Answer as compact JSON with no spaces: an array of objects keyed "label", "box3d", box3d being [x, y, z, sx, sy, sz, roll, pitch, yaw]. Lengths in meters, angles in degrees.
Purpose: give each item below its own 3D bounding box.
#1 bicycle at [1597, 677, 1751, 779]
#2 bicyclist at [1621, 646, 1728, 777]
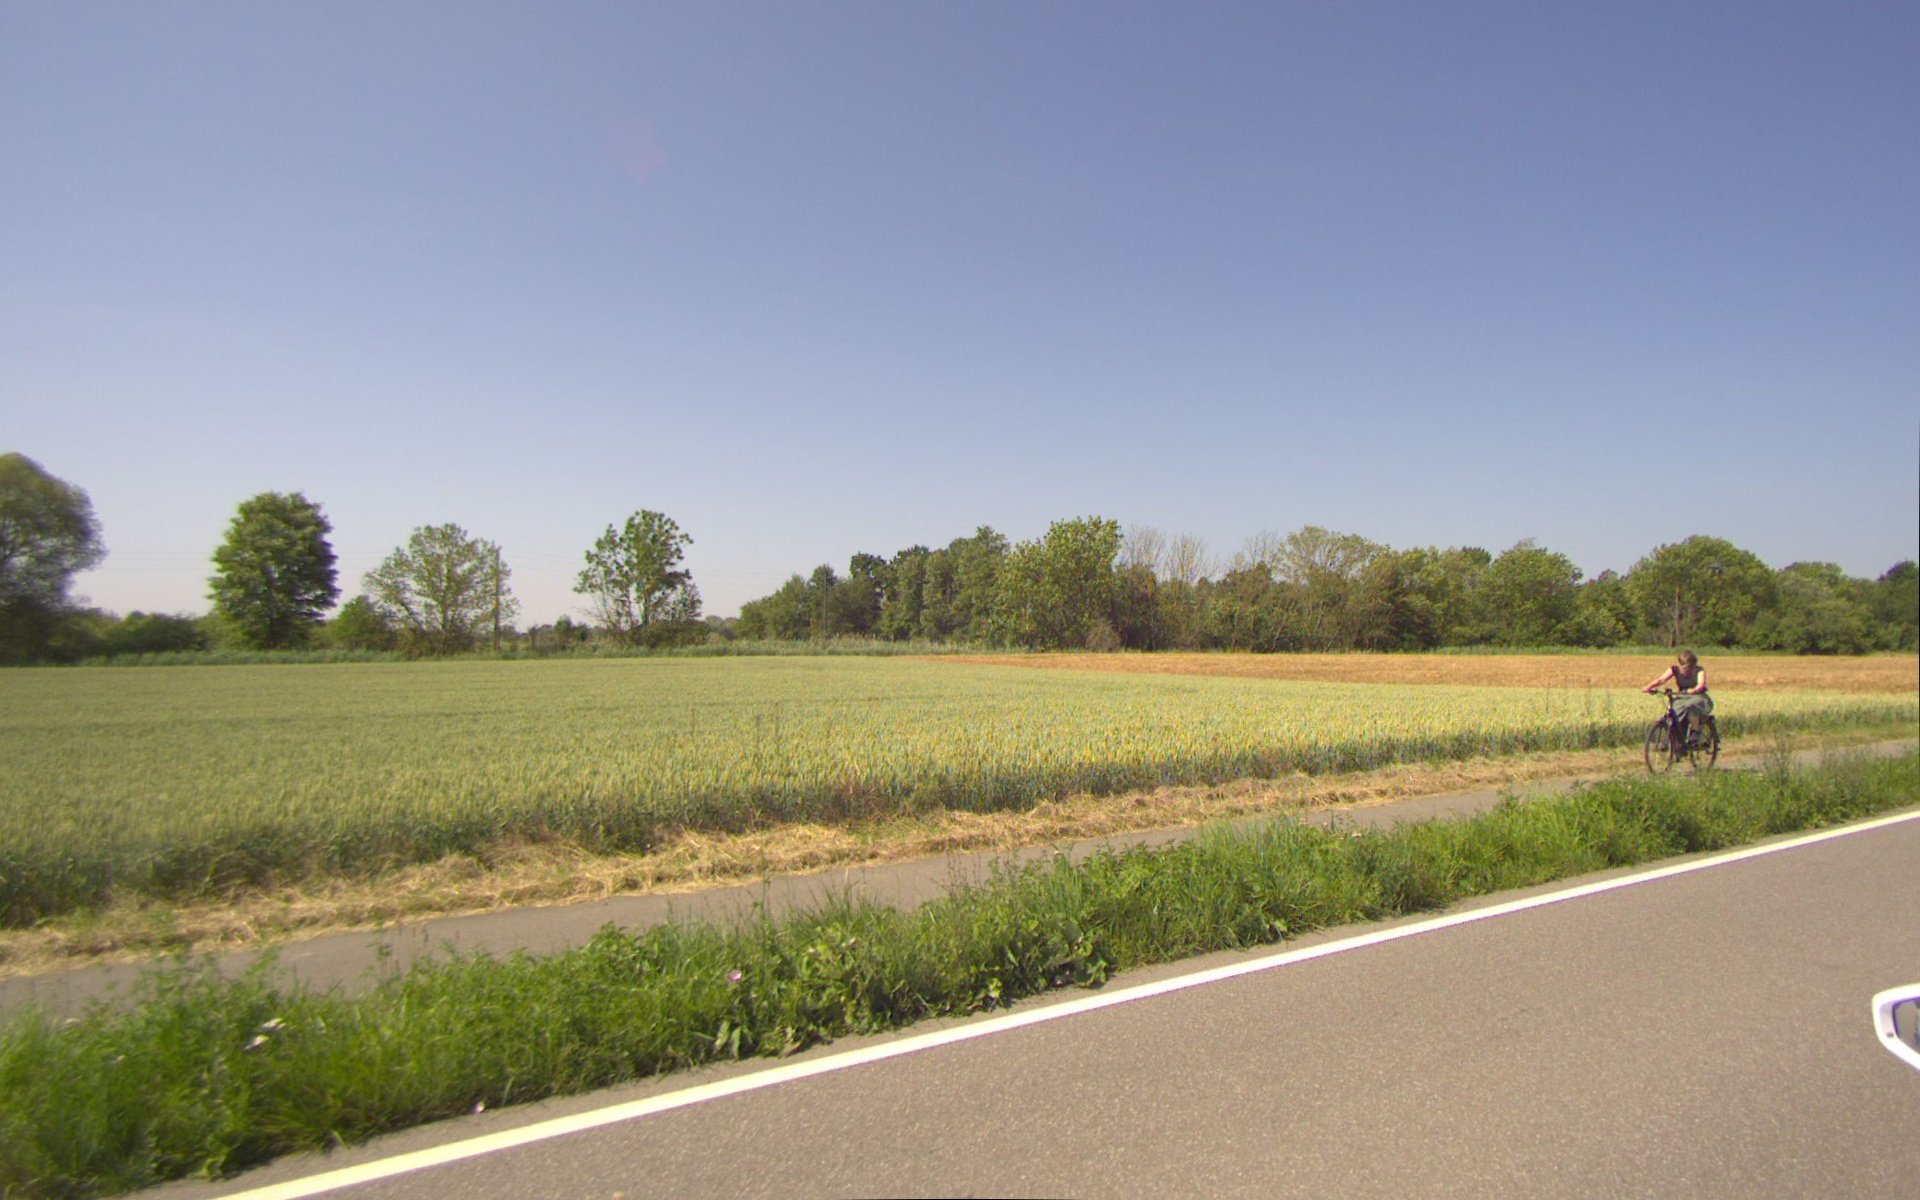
[{"label":"bicycle","box3d":[9.723,1.694,13.654,2.366,1.252,0.756,2,-4,-30]},{"label":"bicyclist","box3d":[9.671,1.472,13.612,1.076,1.694,0.756,1,-4,-30]}]
